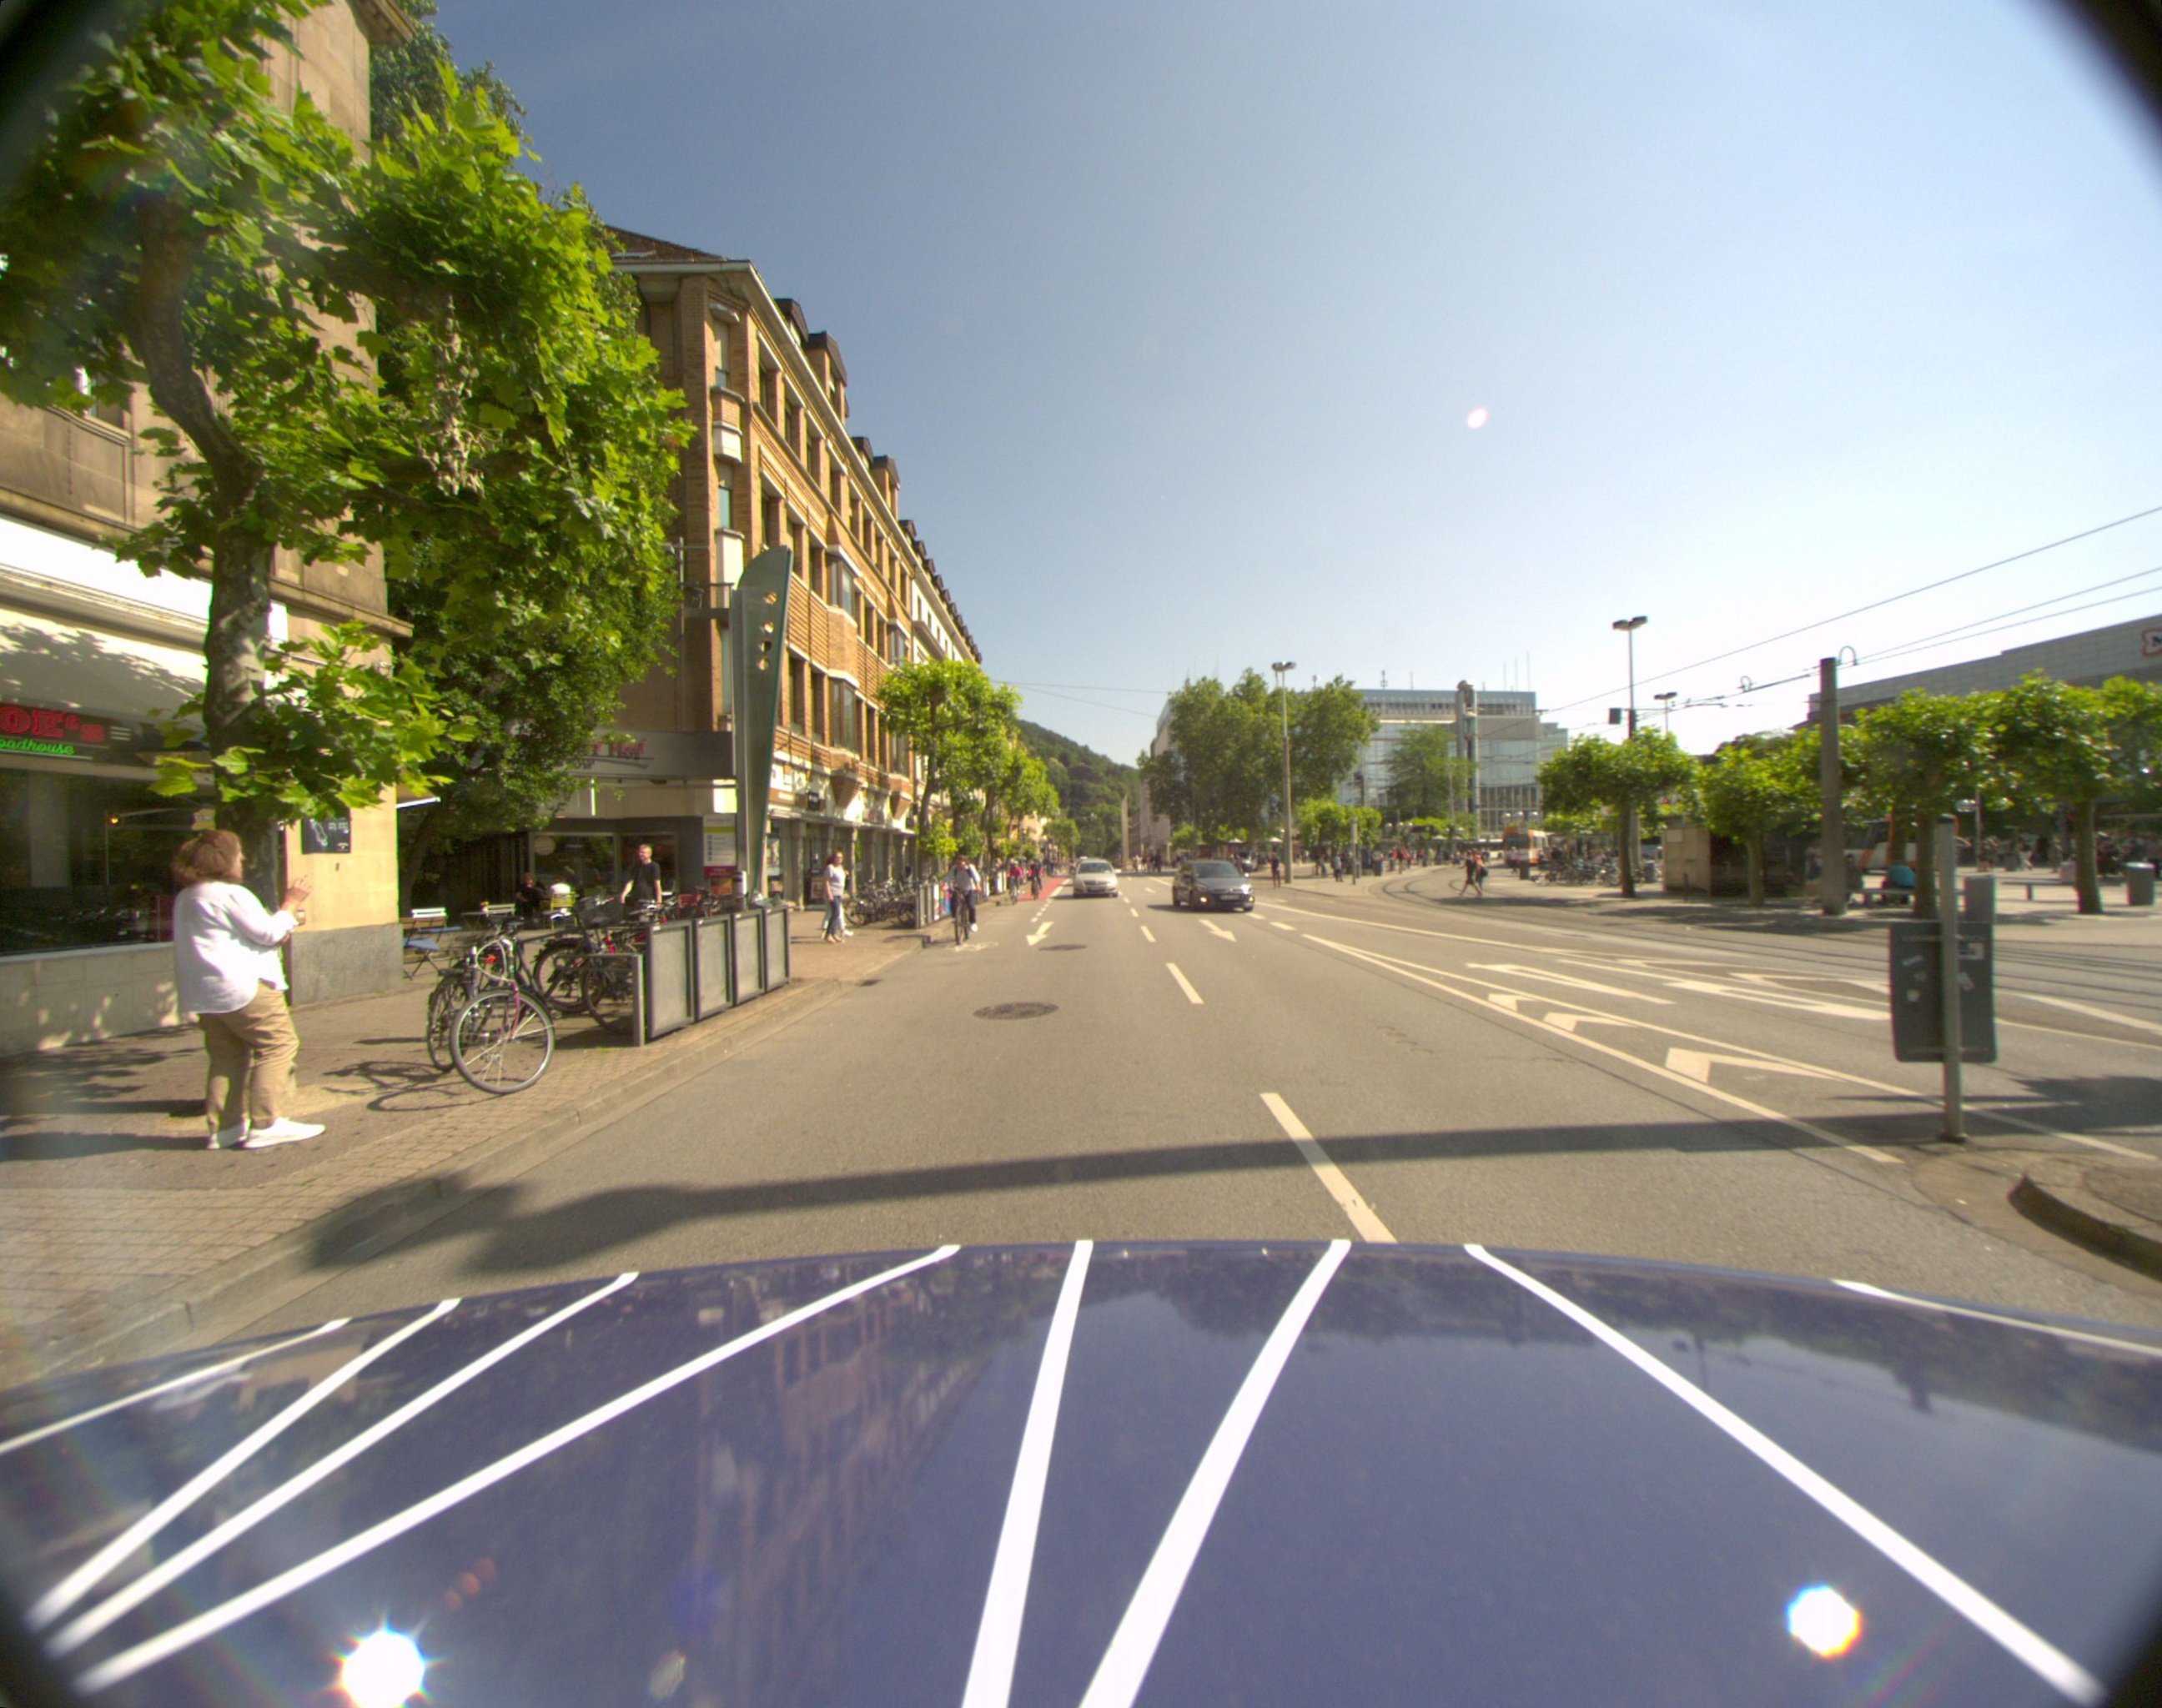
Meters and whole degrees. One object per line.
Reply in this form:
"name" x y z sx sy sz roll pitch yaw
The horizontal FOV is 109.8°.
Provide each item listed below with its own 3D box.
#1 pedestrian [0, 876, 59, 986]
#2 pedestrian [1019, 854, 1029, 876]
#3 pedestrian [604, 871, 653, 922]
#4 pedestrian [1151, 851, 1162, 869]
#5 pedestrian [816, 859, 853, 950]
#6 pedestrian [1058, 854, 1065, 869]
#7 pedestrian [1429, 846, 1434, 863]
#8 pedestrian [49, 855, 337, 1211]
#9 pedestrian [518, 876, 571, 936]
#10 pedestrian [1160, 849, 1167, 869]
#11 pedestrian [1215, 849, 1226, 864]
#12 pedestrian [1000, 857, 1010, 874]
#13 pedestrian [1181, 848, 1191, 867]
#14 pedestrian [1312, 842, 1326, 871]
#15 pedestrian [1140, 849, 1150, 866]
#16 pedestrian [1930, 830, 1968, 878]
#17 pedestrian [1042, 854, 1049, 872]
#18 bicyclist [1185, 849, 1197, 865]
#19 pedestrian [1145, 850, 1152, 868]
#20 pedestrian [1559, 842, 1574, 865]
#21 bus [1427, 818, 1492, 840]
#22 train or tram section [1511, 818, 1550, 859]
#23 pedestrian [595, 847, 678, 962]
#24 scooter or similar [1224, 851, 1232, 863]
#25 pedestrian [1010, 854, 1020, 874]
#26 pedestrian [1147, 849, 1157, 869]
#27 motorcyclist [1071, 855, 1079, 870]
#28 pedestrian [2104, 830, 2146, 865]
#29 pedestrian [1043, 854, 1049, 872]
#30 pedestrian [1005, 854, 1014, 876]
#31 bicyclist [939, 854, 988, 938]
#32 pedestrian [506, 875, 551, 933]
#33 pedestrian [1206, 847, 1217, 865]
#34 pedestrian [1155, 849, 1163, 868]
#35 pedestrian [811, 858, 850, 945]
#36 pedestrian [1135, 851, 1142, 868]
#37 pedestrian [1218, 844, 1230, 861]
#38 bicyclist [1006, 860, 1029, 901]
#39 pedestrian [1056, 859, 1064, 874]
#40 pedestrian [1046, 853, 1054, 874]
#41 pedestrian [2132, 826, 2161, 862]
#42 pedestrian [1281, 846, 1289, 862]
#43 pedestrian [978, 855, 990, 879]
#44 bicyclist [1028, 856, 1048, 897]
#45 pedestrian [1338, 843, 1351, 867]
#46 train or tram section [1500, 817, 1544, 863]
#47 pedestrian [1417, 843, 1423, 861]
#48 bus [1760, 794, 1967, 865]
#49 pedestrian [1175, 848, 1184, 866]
"pedestrian" -10.339 0.734 7.282 0.455 1.017 0.405 -3 1 1
"pedestrian" -4.111 0.785 55.215 0.606 1.529 0.667 -3 1 -1
"pedestrian" -11.802 1.089 19.828 0.792 1.247 0.640 -3 1 4
"pedestrian" 6.986 0.556 70.135 0.630 1.639 0.753 -3 1 27
"pedestrian" -4.520 0.906 13.967 0.601 1.616 0.643 1 1 -16
"pedestrian" -2.285 0.854 89.720 0.650 1.770 0.621 0 2 -11
"pedestrian" 31.980 0.003 69.386 0.385 1.540 0.412 1 0 25
"pedestrian" -4.593 0.856 3.996 0.658 1.673 0.652 -2 2 -12
"pedestrian" -11.995 1.146 17.014 0.640 1.247 0.792 -4 1 -12
"pedestrian" 7.701 0.493 71.134 0.517 1.825 0.716 -3 1 8
"pedestrian" 13.149 0.238 71.803 0.752 1.399 0.782 -3 1 -9
"pedestrian" -7.417 1.143 73.907 0.798 1.638 0.622 -3 1 1
"pedestrian" 9.236 0.311 66.761 0.643 1.681 0.642 -4 1 -13
"pedestrian" 16.907 0.176 53.941 0.693 1.996 0.564 -2 1 -8
"pedestrian" 6.701 0.366 79.924 0.876 1.737 0.733 -3 1 -1
"pedestrian" 29.267 -0.007 25.621 0.608 1.598 0.549 1 0 3
"pedestrian" -3.338 0.851 72.336 0.578 1.675 0.622 -3 1 -2
"bicyclist" 10.513 0.291 72.851 0.831 1.489 1.160 -3 1 -3
"pedestrian" 6.705 0.500 75.441 0.612 1.737 0.752 -2 1 -1
"pedestrian" 34.479 -0.038 53.970 0.626 1.588 0.679 1 0 -22
"bus" 56.606 -3.770 113.407 12.201 2.774 2.385 -4 1 -31
"train or tram section" 45.400 -1.659 76.669 2.615 3.805 9.536 -3 1 34
"pedestrian" -7.159 0.779 12.276 0.669 1.771 0.985 -1 1 5
"scooter or similar" 14.393 0.278 74.196 0.567 1.113 0.539 -3 1 28
"pedestrian" -5.993 0.887 69.100 0.721 1.772 0.776 -3 1 -1
"pedestrian" 6.747 0.461 71.918 0.537 1.773 0.745 -3 1 35
"motorcyclist" -0.657 0.867 78.730 0.736 1.446 0.707 -3 1 1
"pedestrian" 44.775 -0.276 32.595 0.789 1.457 0.742 1 0 -4
"pedestrian" -3.375 0.852 73.545 0.578 1.774 0.699 0 1 -2
"pedestrian" -6.077 0.912 64.514 0.635 1.782 0.776 -3 1 -1
"bicyclist" -2.309 0.809 15.014 0.750 1.567 0.778 -3 1 0
"pedestrian" -12.751 1.142 17.542 0.791 1.247 0.641 -3 1 44
"pedestrian" 12.750 0.180 74.371 0.750 1.737 0.784 -3 1 27
"pedestrian" 7.501 0.429 73.008 0.595 1.835 0.738 -1 1 -1
"pedestrian" -4.829 0.889 14.665 0.698 1.617 0.701 -1 1 -18
"pedestrian" 6.458 0.575 85.673 0.639 1.903 0.733 -3 1 -1
"pedestrian" 13.350 -0.150 70.949 0.752 1.587 0.782 -3 1 -9
"bicyclist" -2.274 0.943 27.252 0.690 1.388 0.778 -3 1 -1
"pedestrian" -2.176 1.290 79.460 0.672 1.488 0.637 -3 1 -13
"pedestrian" -2.843 0.887 69.855 0.578 1.835 0.717 -3 1 -2
"pedestrian" 44.501 -0.395 31.613 0.625 1.457 0.680 1 0 -4
"pedestrian" 22.363 0.015 83.214 0.638 1.683 0.753 -3 1 23
"pedestrian" -7.054 0.972 55.403 0.658 1.686 0.676 -3 1 2
"bicyclist" -1.699 0.866 29.997 0.690 1.567 0.778 -3 1 -2
"pedestrian" 19.542 0.101 56.402 0.626 1.783 0.678 1 0 -41
"train or tram section" 40.032 -1.313 68.793 2.615 3.805 9.536 -3 1 34
"pedestrian" 29.771 -0.156 66.786 0.474 1.540 0.493 1 0 25
"bus" 44.422 -1.356 43.992 3.060 3.400 12.475 -3 0 20
"pedestrian" 9.861 0.298 75.910 0.751 1.737 0.667 -3 1 -1
